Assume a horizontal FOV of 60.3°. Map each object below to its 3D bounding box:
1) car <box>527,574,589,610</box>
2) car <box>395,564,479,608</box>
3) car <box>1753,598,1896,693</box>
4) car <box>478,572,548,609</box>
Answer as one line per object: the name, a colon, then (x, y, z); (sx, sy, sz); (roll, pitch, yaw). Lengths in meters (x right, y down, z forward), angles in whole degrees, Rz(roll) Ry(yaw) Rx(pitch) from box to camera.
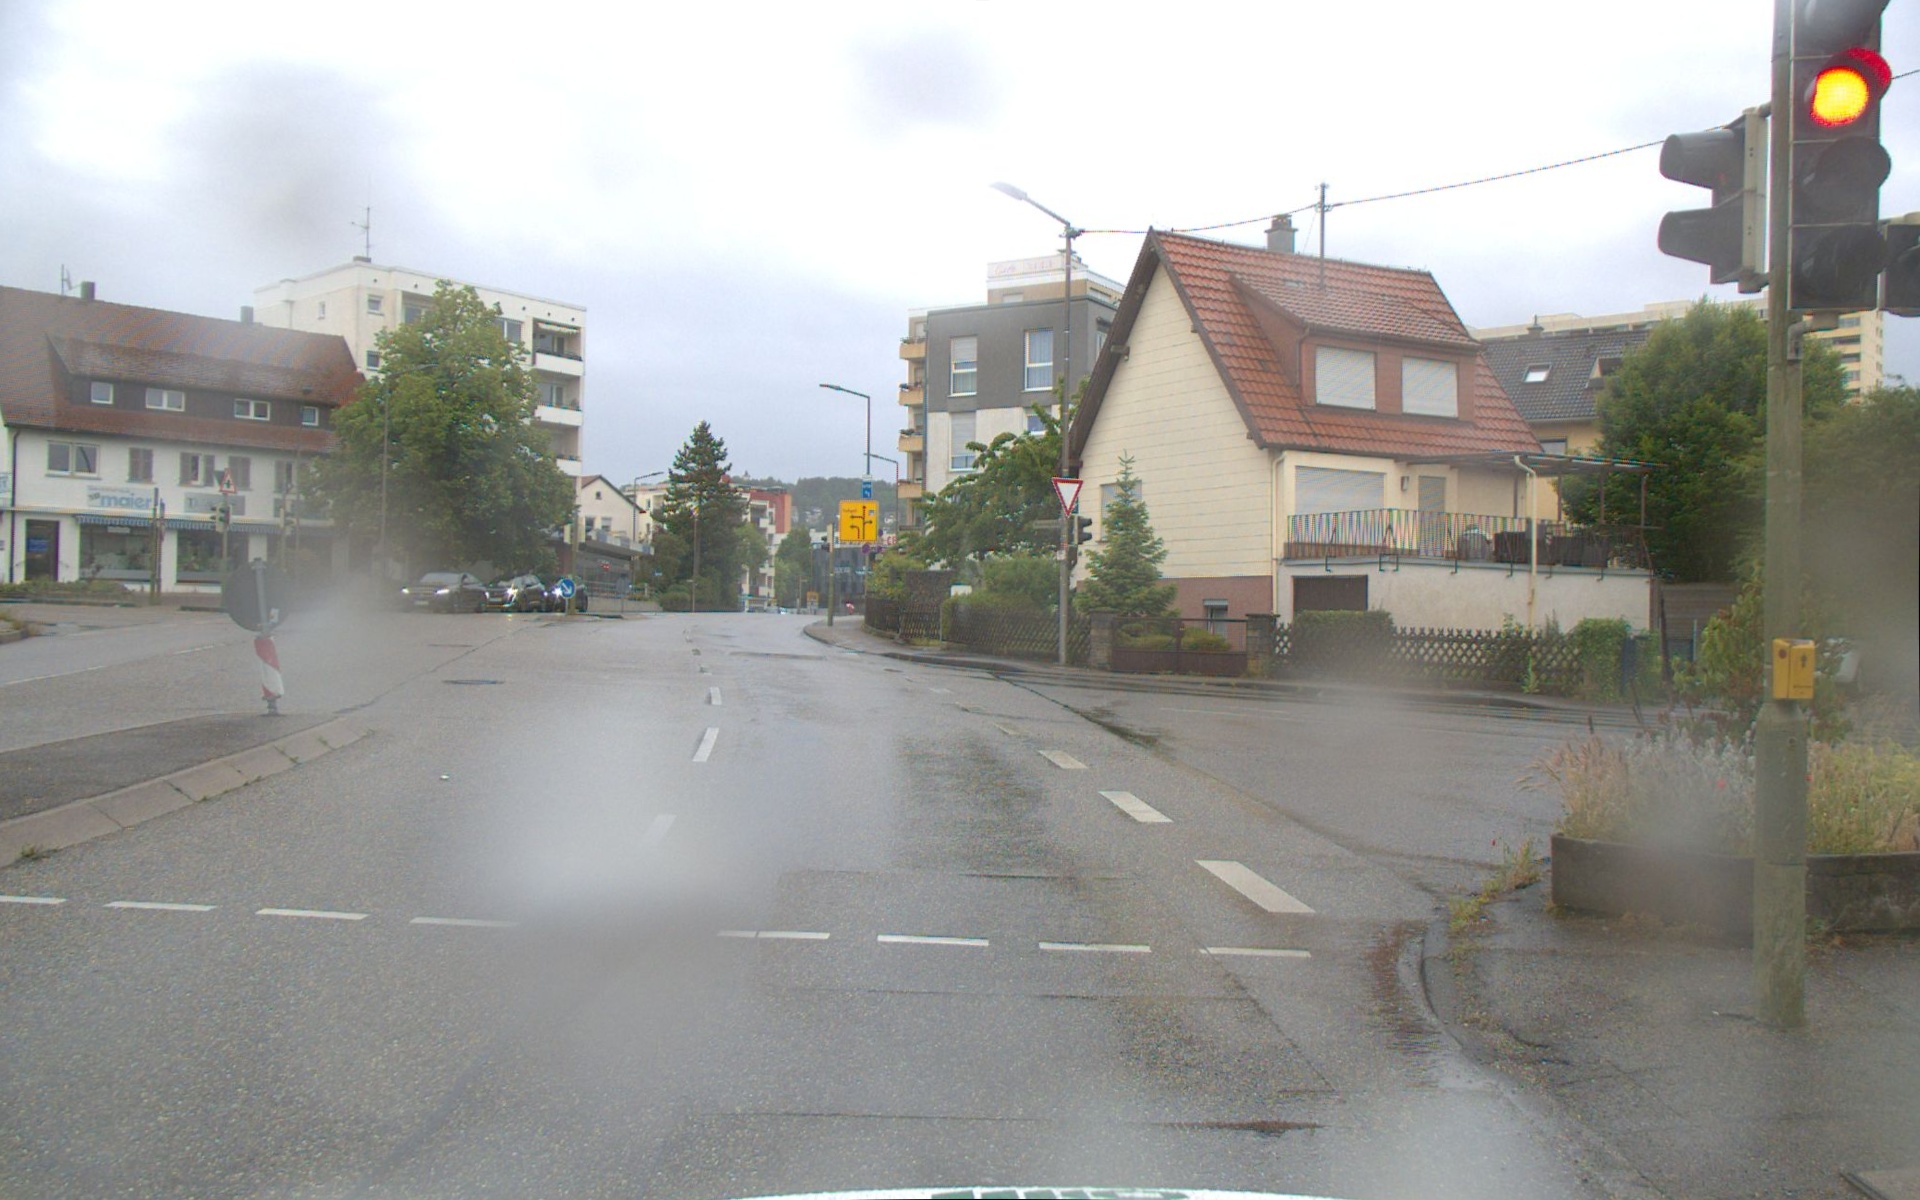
car: (-17.265, -0.355, 71.208); (1.742, 1.445, 3.830); (1, 1, -1)
car: (-18.255, -0.488, 57.904); (1.742, 1.445, 3.830); (1, 1, -1)
car: (15.615, 0.766, 29.781); (1.710, 1.541, 3.985); (1, 1, 36)
car: (-17.605, -0.389, 65.297); (1.680, 1.411, 4.020); (1, 1, -1)
